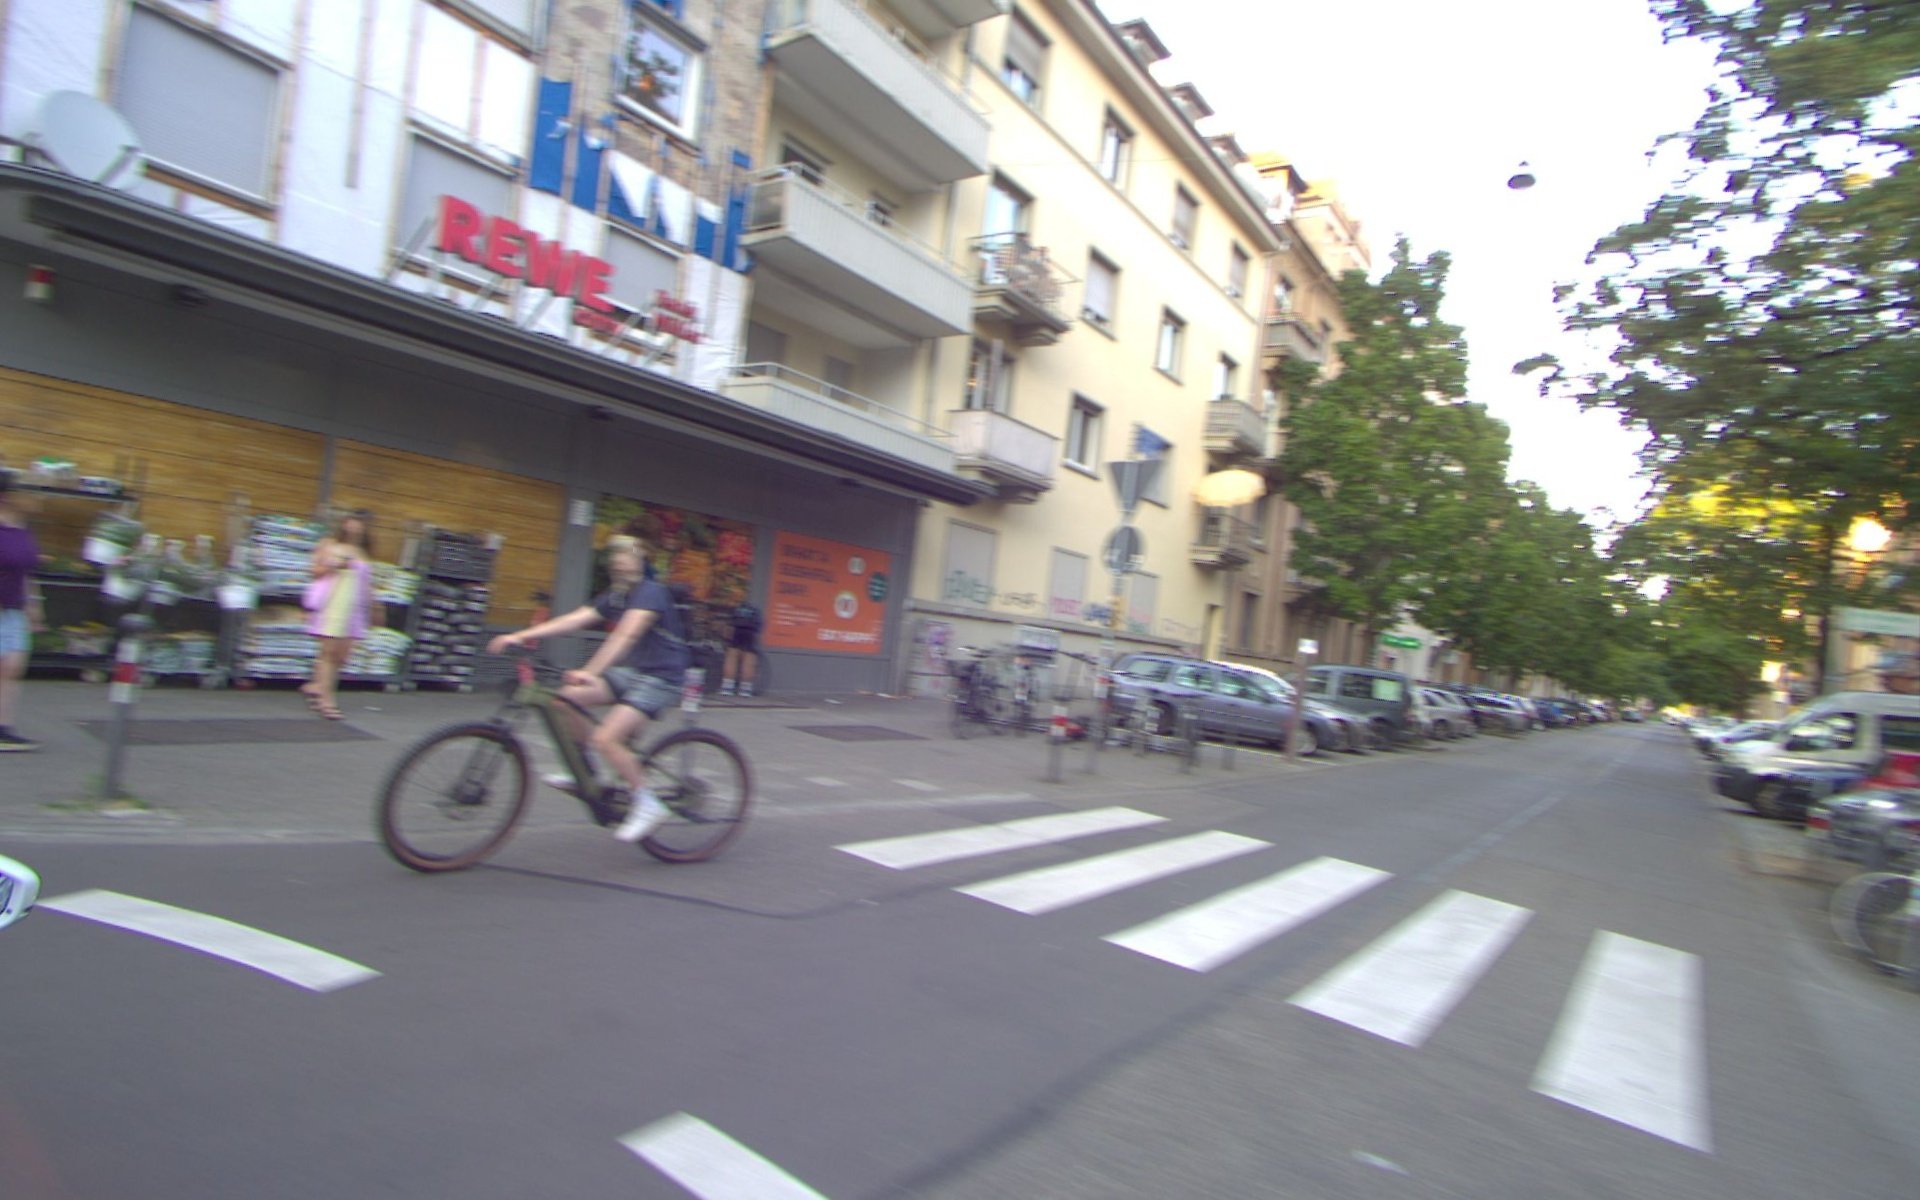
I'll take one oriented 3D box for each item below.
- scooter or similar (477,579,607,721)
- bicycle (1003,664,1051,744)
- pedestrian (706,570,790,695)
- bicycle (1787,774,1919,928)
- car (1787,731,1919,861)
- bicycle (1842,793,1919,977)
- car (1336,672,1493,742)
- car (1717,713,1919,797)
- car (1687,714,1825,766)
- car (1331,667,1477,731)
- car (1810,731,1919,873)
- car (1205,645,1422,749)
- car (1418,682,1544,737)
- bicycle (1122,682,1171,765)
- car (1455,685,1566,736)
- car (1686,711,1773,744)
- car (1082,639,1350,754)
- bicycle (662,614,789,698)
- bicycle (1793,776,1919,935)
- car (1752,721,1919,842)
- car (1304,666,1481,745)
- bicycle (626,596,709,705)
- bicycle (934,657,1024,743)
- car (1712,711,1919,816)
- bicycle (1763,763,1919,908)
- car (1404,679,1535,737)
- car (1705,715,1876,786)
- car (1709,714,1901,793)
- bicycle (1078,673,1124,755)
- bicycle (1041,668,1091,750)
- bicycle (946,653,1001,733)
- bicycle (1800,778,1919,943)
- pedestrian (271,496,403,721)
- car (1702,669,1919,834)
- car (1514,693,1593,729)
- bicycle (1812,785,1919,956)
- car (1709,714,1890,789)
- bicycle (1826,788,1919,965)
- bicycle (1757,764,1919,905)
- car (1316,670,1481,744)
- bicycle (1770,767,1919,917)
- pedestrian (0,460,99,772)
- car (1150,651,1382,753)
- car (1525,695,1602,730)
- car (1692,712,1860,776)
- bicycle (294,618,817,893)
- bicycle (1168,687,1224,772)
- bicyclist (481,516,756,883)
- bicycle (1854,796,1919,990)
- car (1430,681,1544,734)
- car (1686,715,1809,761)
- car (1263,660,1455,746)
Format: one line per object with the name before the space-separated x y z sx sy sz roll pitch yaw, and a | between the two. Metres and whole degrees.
scooter or similar | -4.310 0.503 10.355 1.266 1.281 0.322 8 -1 26
bicycle | 0.989 1.475 14.597 0.370 1.038 2.019 6 -3 10
pedestrian | -2.925 0.455 13.886 0.708 1.619 0.663 5 -2 41
bicycle | 8.400 2.224 8.551 2.002 1.147 0.434 5 -2 33
car | 14.050 2.856 13.617 4.230 1.543 1.905 5 -3 38
bicycle | 7.112 2.005 6.503 2.002 1.147 0.434 5 -2 33
car | 15.915 3.724 35.382 4.460 1.805 2.002 7 -2 1
car | 26.044 4.673 30.725 4.475 1.805 1.995 5 -3 36
car | 39.127 6.868 49.644 5.119 1.805 1.995 5 -3 36
car | 16.641 3.687 37.828 4.460 1.805 2.002 7 -2 1
car | 12.875 2.618 11.808 4.230 1.543 1.905 5 -3 38
car | 8.220 2.259 23.830 4.457 1.805 2.003 6 -2 11
car | 22.849 4.776 44.268 4.458 1.805 2.003 6 -2 16
bicycle | 2.672 1.741 14.579 0.482 1.038 2.019 6 -3 8
car | 27.852 5.570 51.082 4.458 1.954 2.003 6 -2 16
car | 58.739 9.719 76.934 5.119 1.805 1.995 5 -3 36
car | 4.756 1.798 19.172 4.461 1.543 2.002 7 -2 -1
bicycle | -3.275 0.816 14.226 0.372 1.038 1.878 5 -3 35
bicycle | 8.131 2.174 8.156 2.002 1.147 0.434 5 -2 33
car | 15.176 2.951 15.525 4.478 1.543 1.994 5 -3 38
car | 13.258 3.229 31.018 4.461 1.805 2.001 7 -2 -2
bicycle | -3.656 0.592 12.496 0.345 1.216 1.794 7 -3 -33
bicycle | 0.277 1.340 13.409 0.371 1.038 1.661 5 -3 29
car | 20.367 3.793 23.347 4.475 1.805 1.995 5 -3 36
bicycle | 8.919 2.276 9.476 2.002 1.147 0.434 5 -2 33
car | 21.297 4.482 42.250 4.458 1.805 2.003 6 -2 16
car | 29.822 5.379 36.342 4.475 1.805 1.995 5 -3 36
car | 27.195 4.912 32.624 4.475 1.805 1.995 5 -3 36
bicycle | 2.051 1.596 14.470 0.482 1.038 2.019 6 -3 10
bicycle | 1.556 1.540 14.526 0.482 1.038 2.019 6 -3 10
bicycle | 0.226 1.342 14.734 0.370 1.038 2.019 6 -3 10
bicycle | 7.863 2.121 7.759 2.002 1.147 0.434 5 -2 33
pedestrian | -5.178 0.077 8.360 0.662 1.745 0.714 8 -2 -40
car | 16.618 2.783 17.688 5.455 2.448 2.241 5 -3 34
car | 42.223 7.861 71.637 4.463 1.954 2.001 6 -3 24
bicycle | 7.621 2.104 7.358 2.002 1.147 0.434 5 -2 33
car | 28.555 5.125 34.434 4.475 1.805 1.995 5 -3 36
bicycle | 7.371 2.052 6.939 2.002 1.147 0.434 5 -2 33
bicycle | 9.176 2.344 9.872 2.002 1.147 0.434 5 -2 33
car | 14.429 3.508 33.287 4.460 1.805 2.002 7 -2 1
bicycle | 8.648 2.246 9.050 2.002 1.147 0.434 5 -2 33
pedestrian | -5.535 0.056 5.634 0.708 1.670 0.711 7 -2 -20
car | 6.582 2.152 21.713 4.461 1.543 2.002 6 -3 21
car | 44.167 8.209 73.784 4.463 1.954 2.001 6 -3 24
car | 33.318 5.865 41.315 5.119 1.805 1.995 5 -3 36
bicycle | -1.975 0.788 5.142 2.266 1.085 0.783 9 -1 -37
bicycle | 3.368 1.818 14.480 0.482 1.038 2.019 6 -3 8
bicyclist | -1.790 0.497 5.260 0.989 1.709 0.783 8 0 -37
bicycle | 6.825 1.948 6.081 2.002 1.147 0.434 5 -2 33
car | 25.749 5.222 49.302 4.458 1.954 2.003 6 -2 16
car | 43.326 7.582 55.531 5.119 1.805 1.995 5 -3 36
car | 11.153 2.852 28.343 4.461 1.805 2.001 7 -2 -2
